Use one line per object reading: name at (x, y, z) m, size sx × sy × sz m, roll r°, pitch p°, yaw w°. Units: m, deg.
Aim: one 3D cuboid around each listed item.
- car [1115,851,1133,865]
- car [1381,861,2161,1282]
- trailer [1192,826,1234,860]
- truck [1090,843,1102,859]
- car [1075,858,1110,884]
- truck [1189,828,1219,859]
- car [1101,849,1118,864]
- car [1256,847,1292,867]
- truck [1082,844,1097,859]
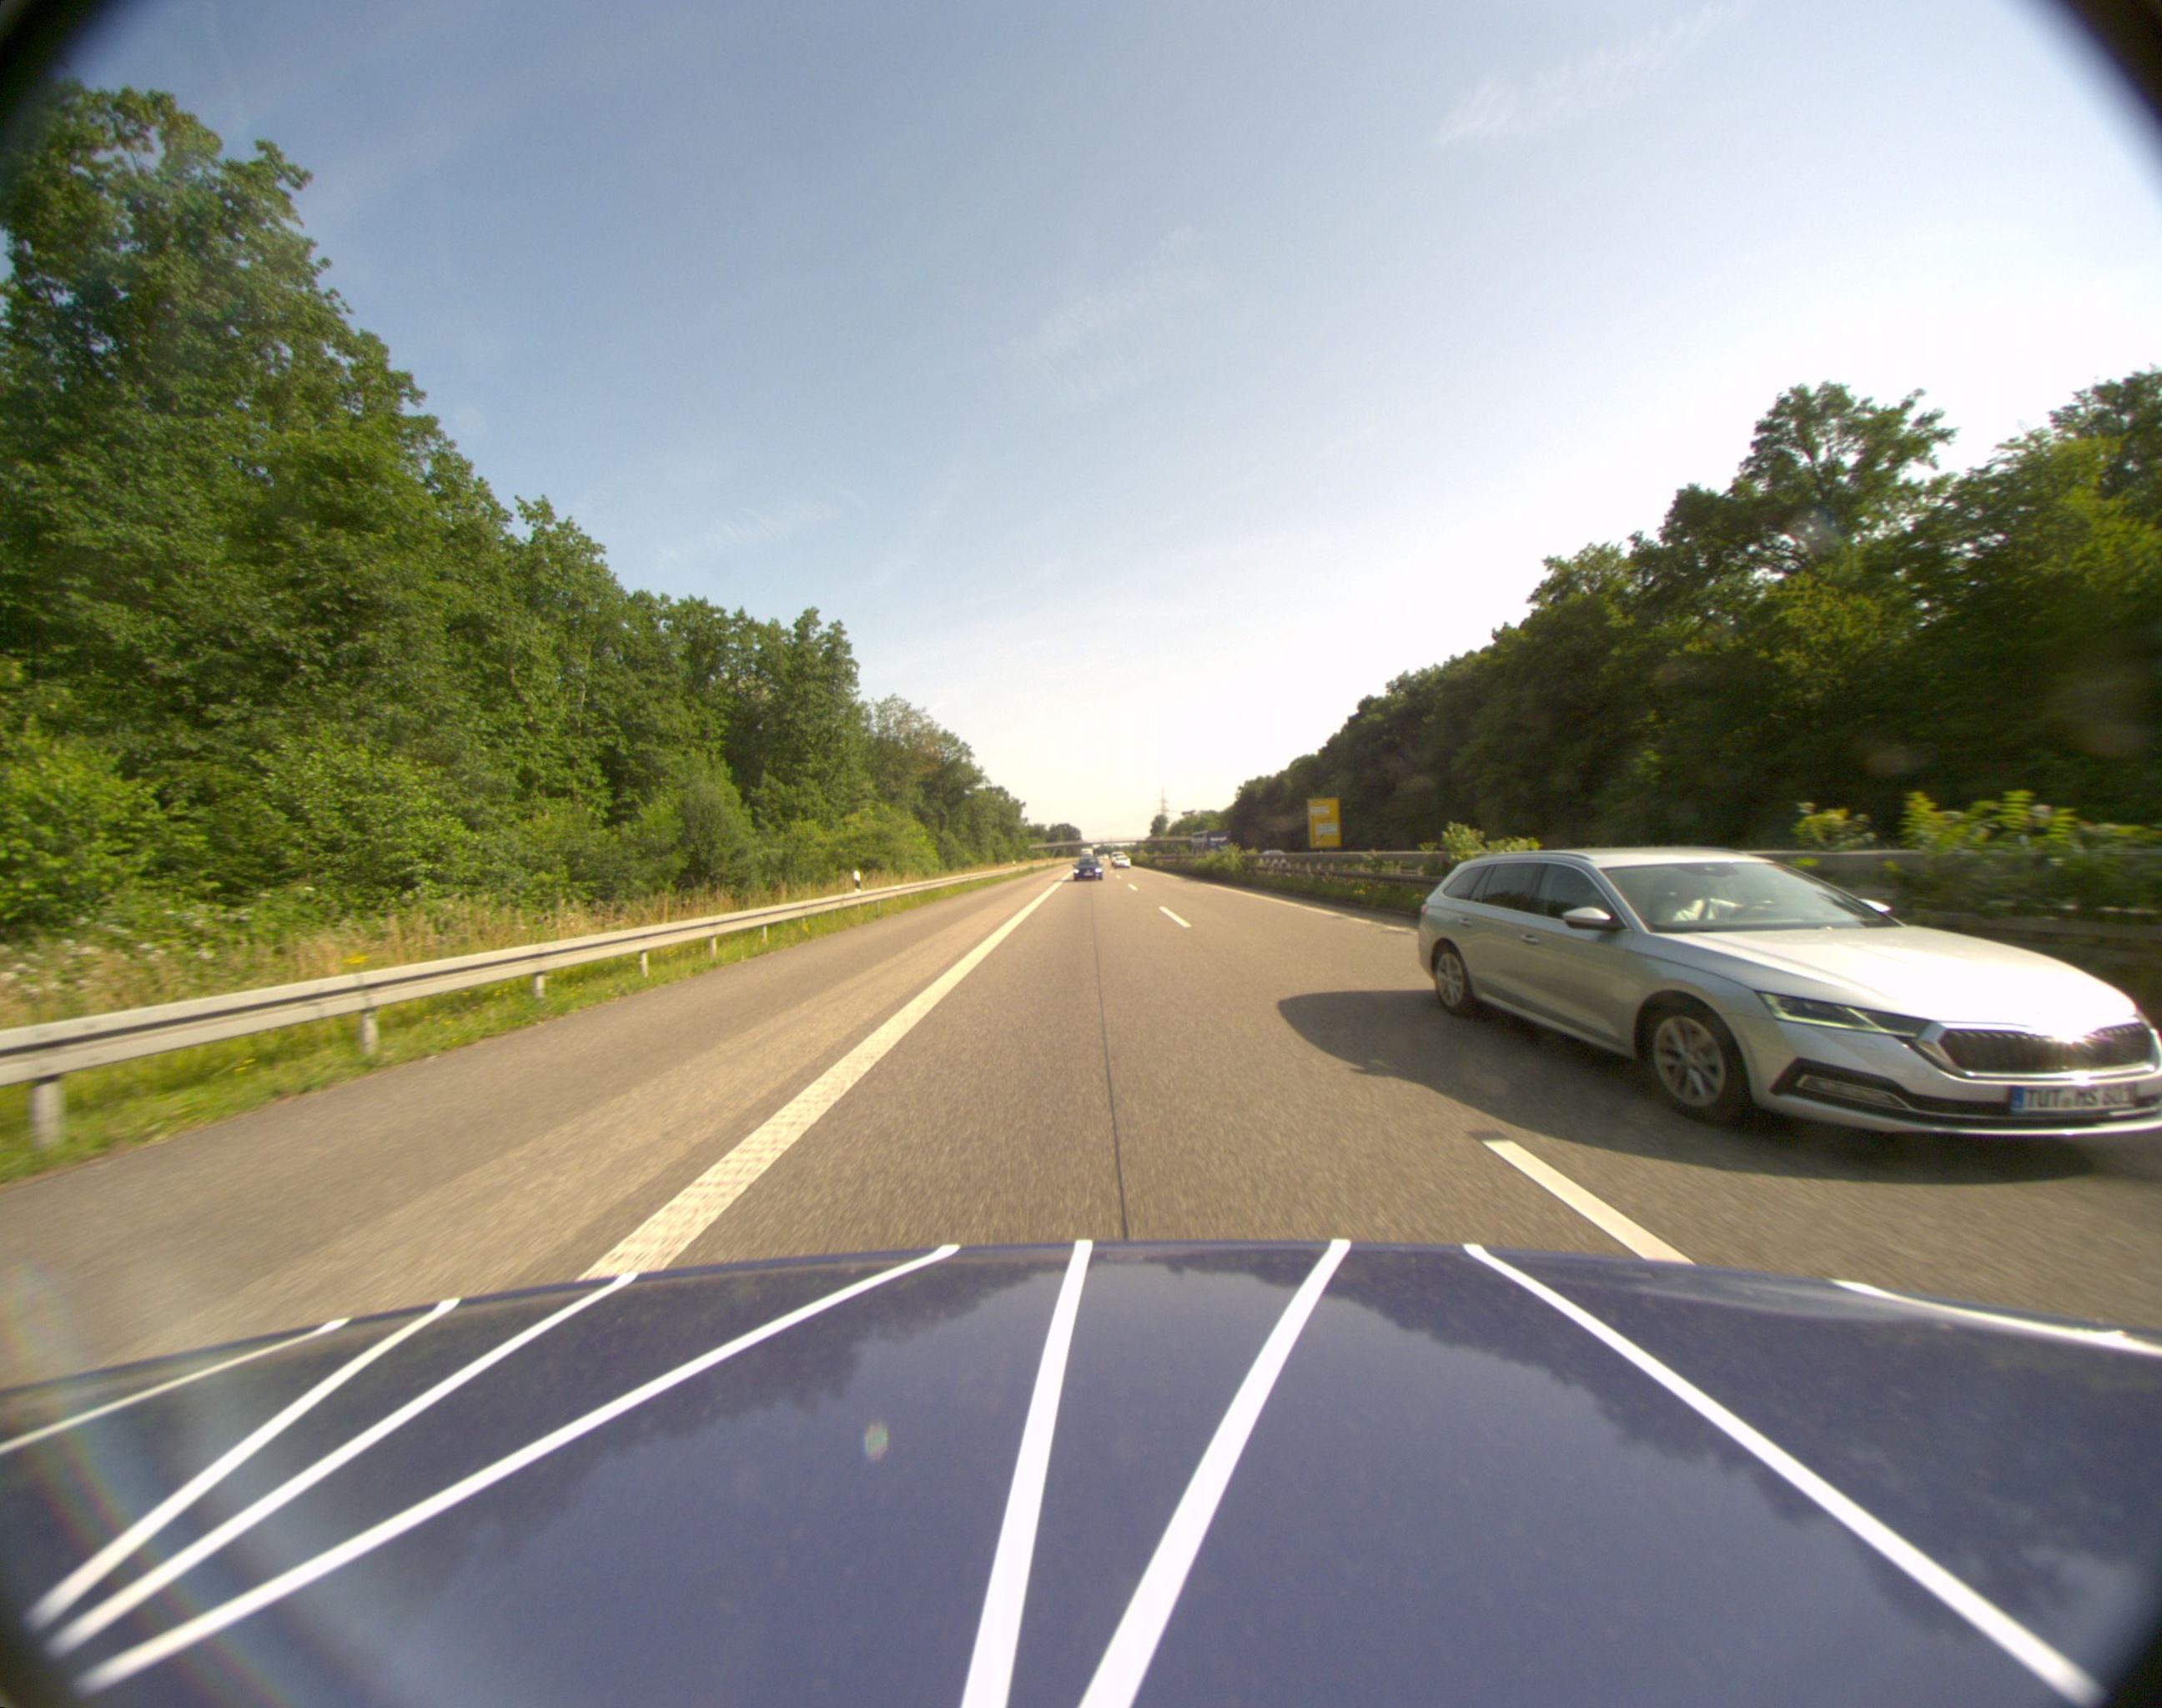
car at (4.930, 0.488, 87.307) m, size 1.754 × 1.477 × 5.263 m, roll -2°, pitch 0°, yaw 0°
car at (4.060, 0.822, 5.403) m, size 1.797 × 1.430 × 5.278 m, roll -1°, pitch 0°, yaw 0°
trailer at (16.720, -1.302, 97.354) m, size 2.974 × 4.047 × 14.316 m, roll -1°, pitch 0°, yaw 0°
truck at (4.064, -0.887, 209.721) m, size 2.695 × 4.062 × 12.361 m, roll -2°, pitch 0°, yaw -2°
car at (0.598, 0.899, 42.527) m, size 1.789 × 1.285 × 3.538 m, roll -2°, pitch 1°, yaw -1°
truck at (16.680, -1.358, 103.315) m, size 2.974 × 4.047 × 6.564 m, roll -1°, pitch 0°, yaw 0°
car at (3.900, 0.366, 105.920) m, size 1.913 × 1.934 × 4.705 m, roll -2°, pitch 1°, yaw -3°
car at (15.939, 0.202, 62.909) m, size 1.755 × 1.457 × 4.810 m, roll -4°, pitch 0°, yaw 1°
truck at (1.852, -0.619, 161.777) m, size 2.695 × 3.020 × 10.369 m, roll -2°, pitch 0°, yaw -2°
